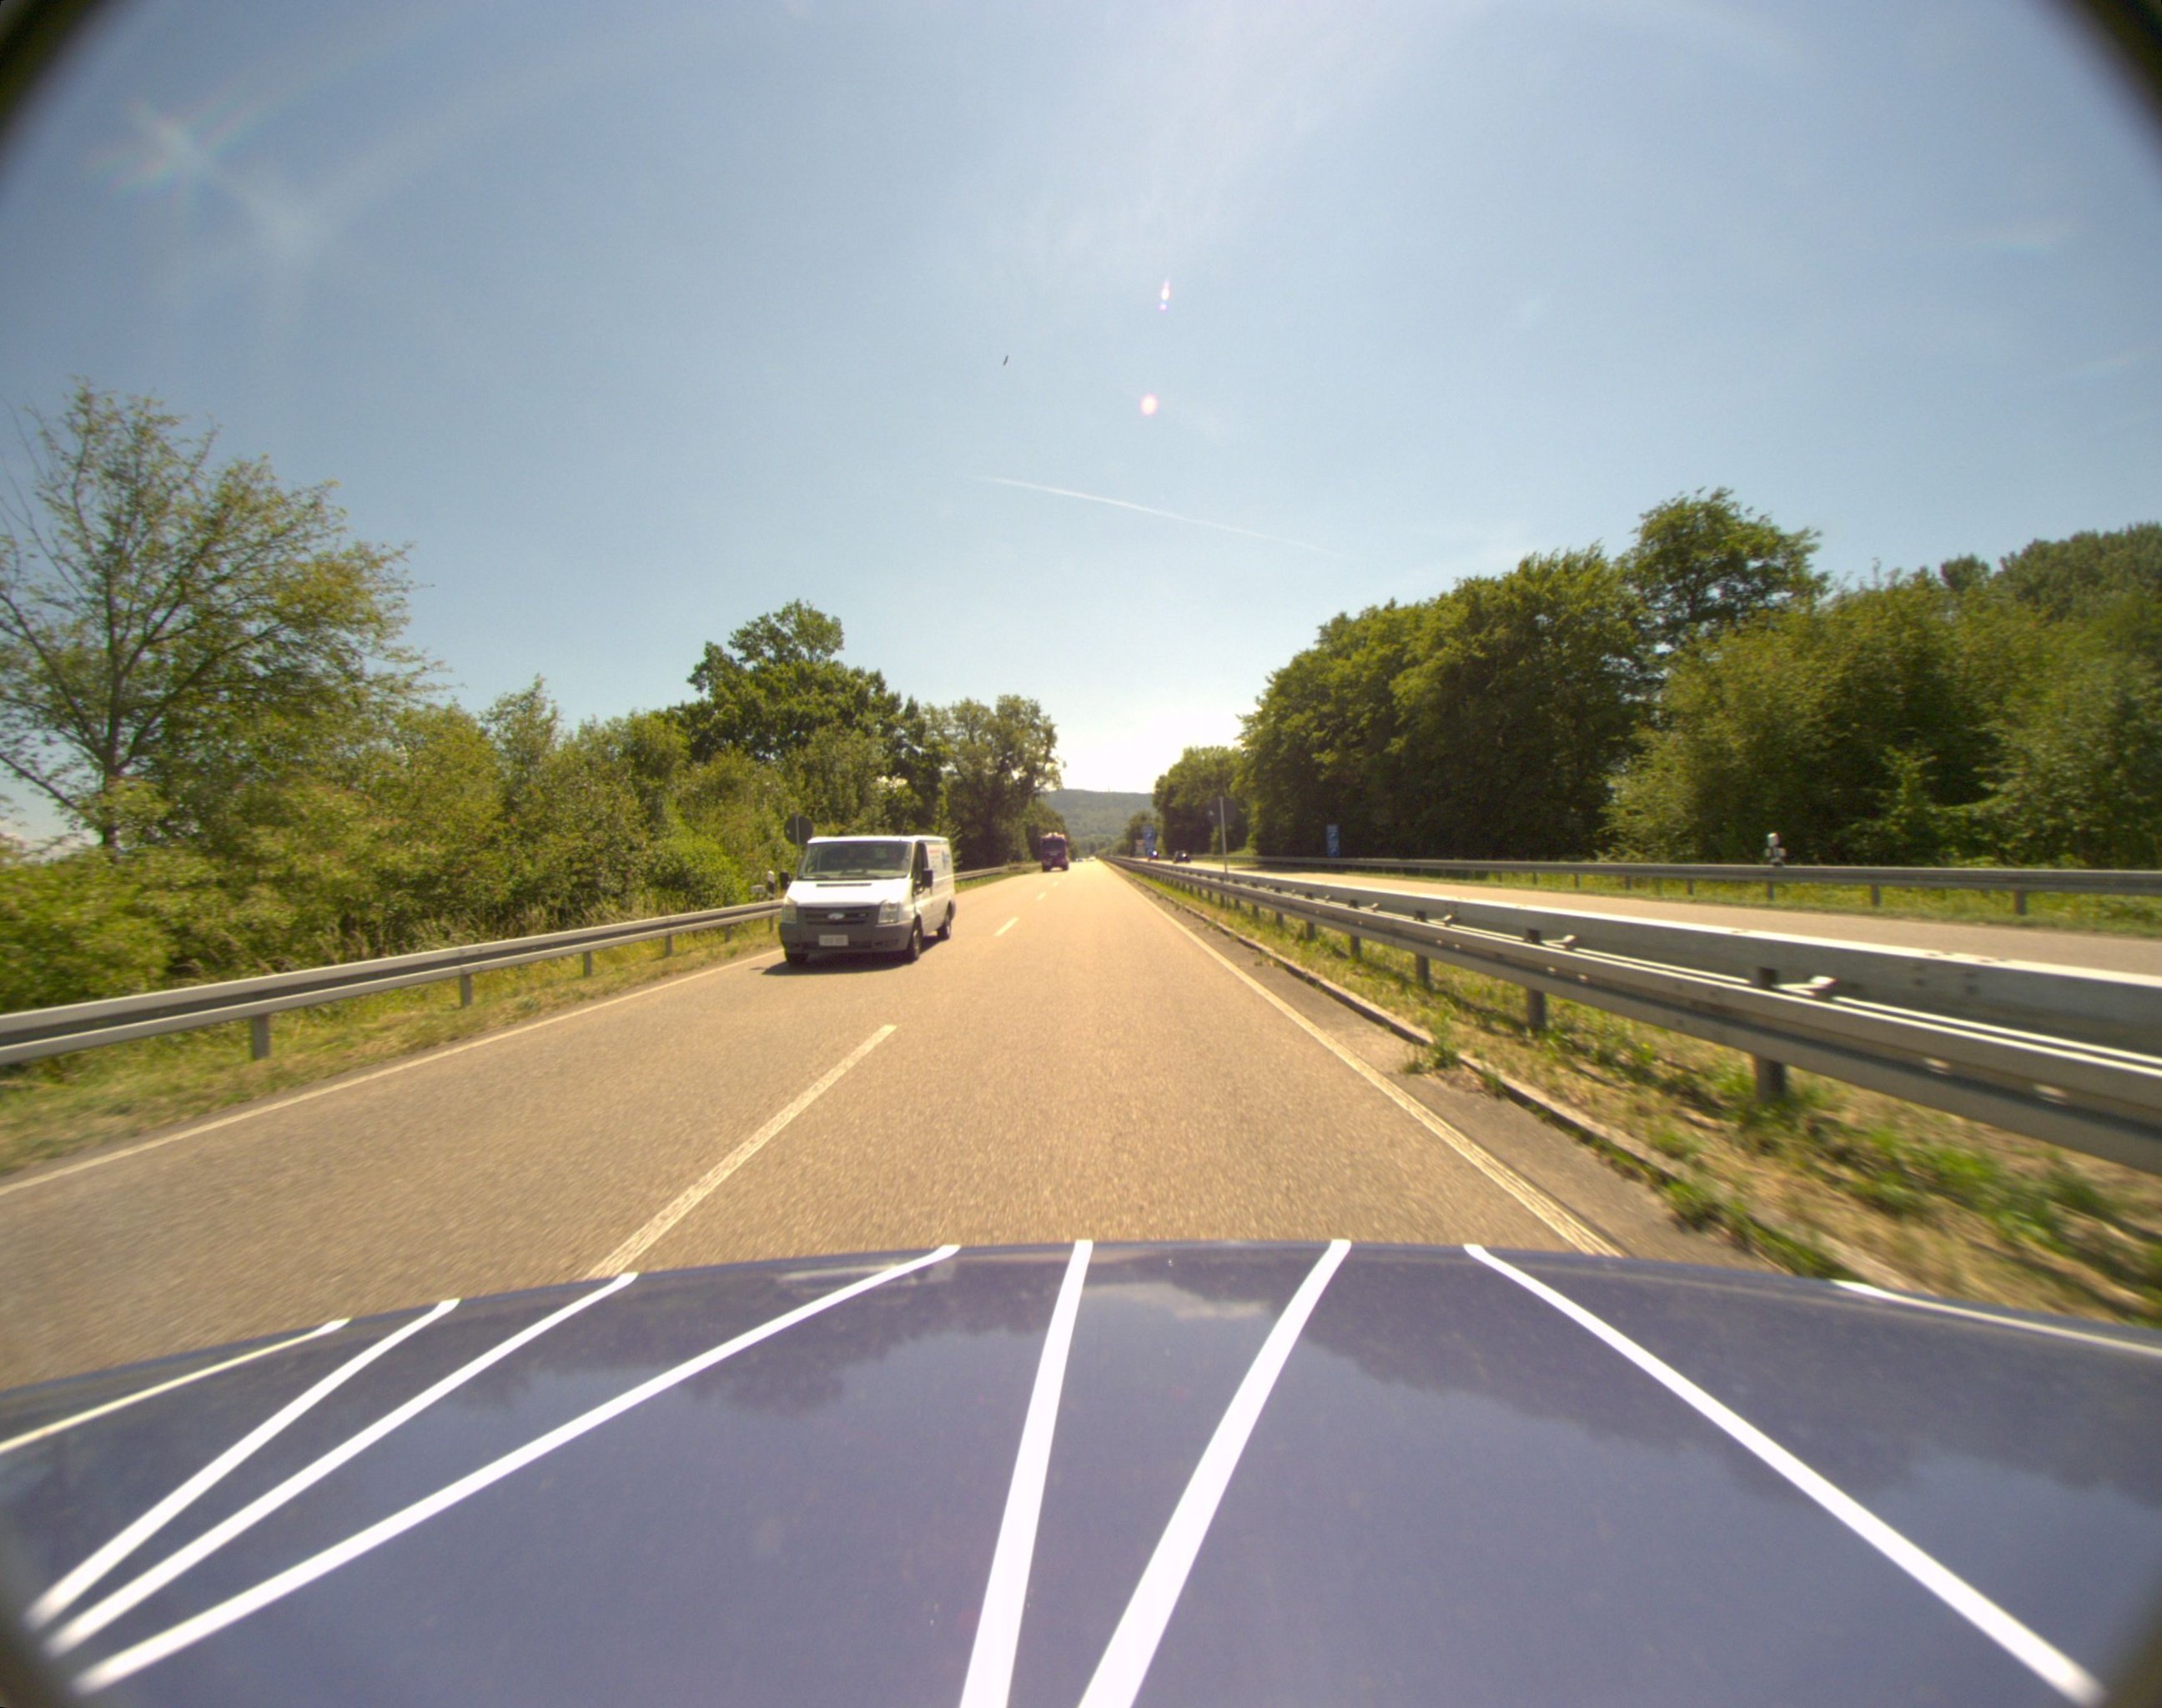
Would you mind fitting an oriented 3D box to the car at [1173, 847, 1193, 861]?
[{"bbox_3d":[11.550,-0.055,86.283,1.802,1.459,3.773,-3,0,2],"label":"car"}]

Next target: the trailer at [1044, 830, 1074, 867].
[{"bbox_3d":[-2.265,-0.507,81.809,2.605,3.607,8.615,-4,-1,0],"label":"trailer"}]

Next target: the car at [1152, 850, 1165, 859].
[{"bbox_3d":[13.006,0.009,127.337,1.780,1.411,4.575,-3,1,2],"label":"car"}]

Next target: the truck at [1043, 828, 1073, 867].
[{"bbox_3d":[-2.293,-0.579,77.061,2.605,3.669,5.939,-4,-1,0],"label":"truck"}]

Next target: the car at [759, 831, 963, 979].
[{"bbox_3d":[-3.458,0.729,13.139,2.011,1.977,5.034,-3,0,-1],"label":"car"}]
